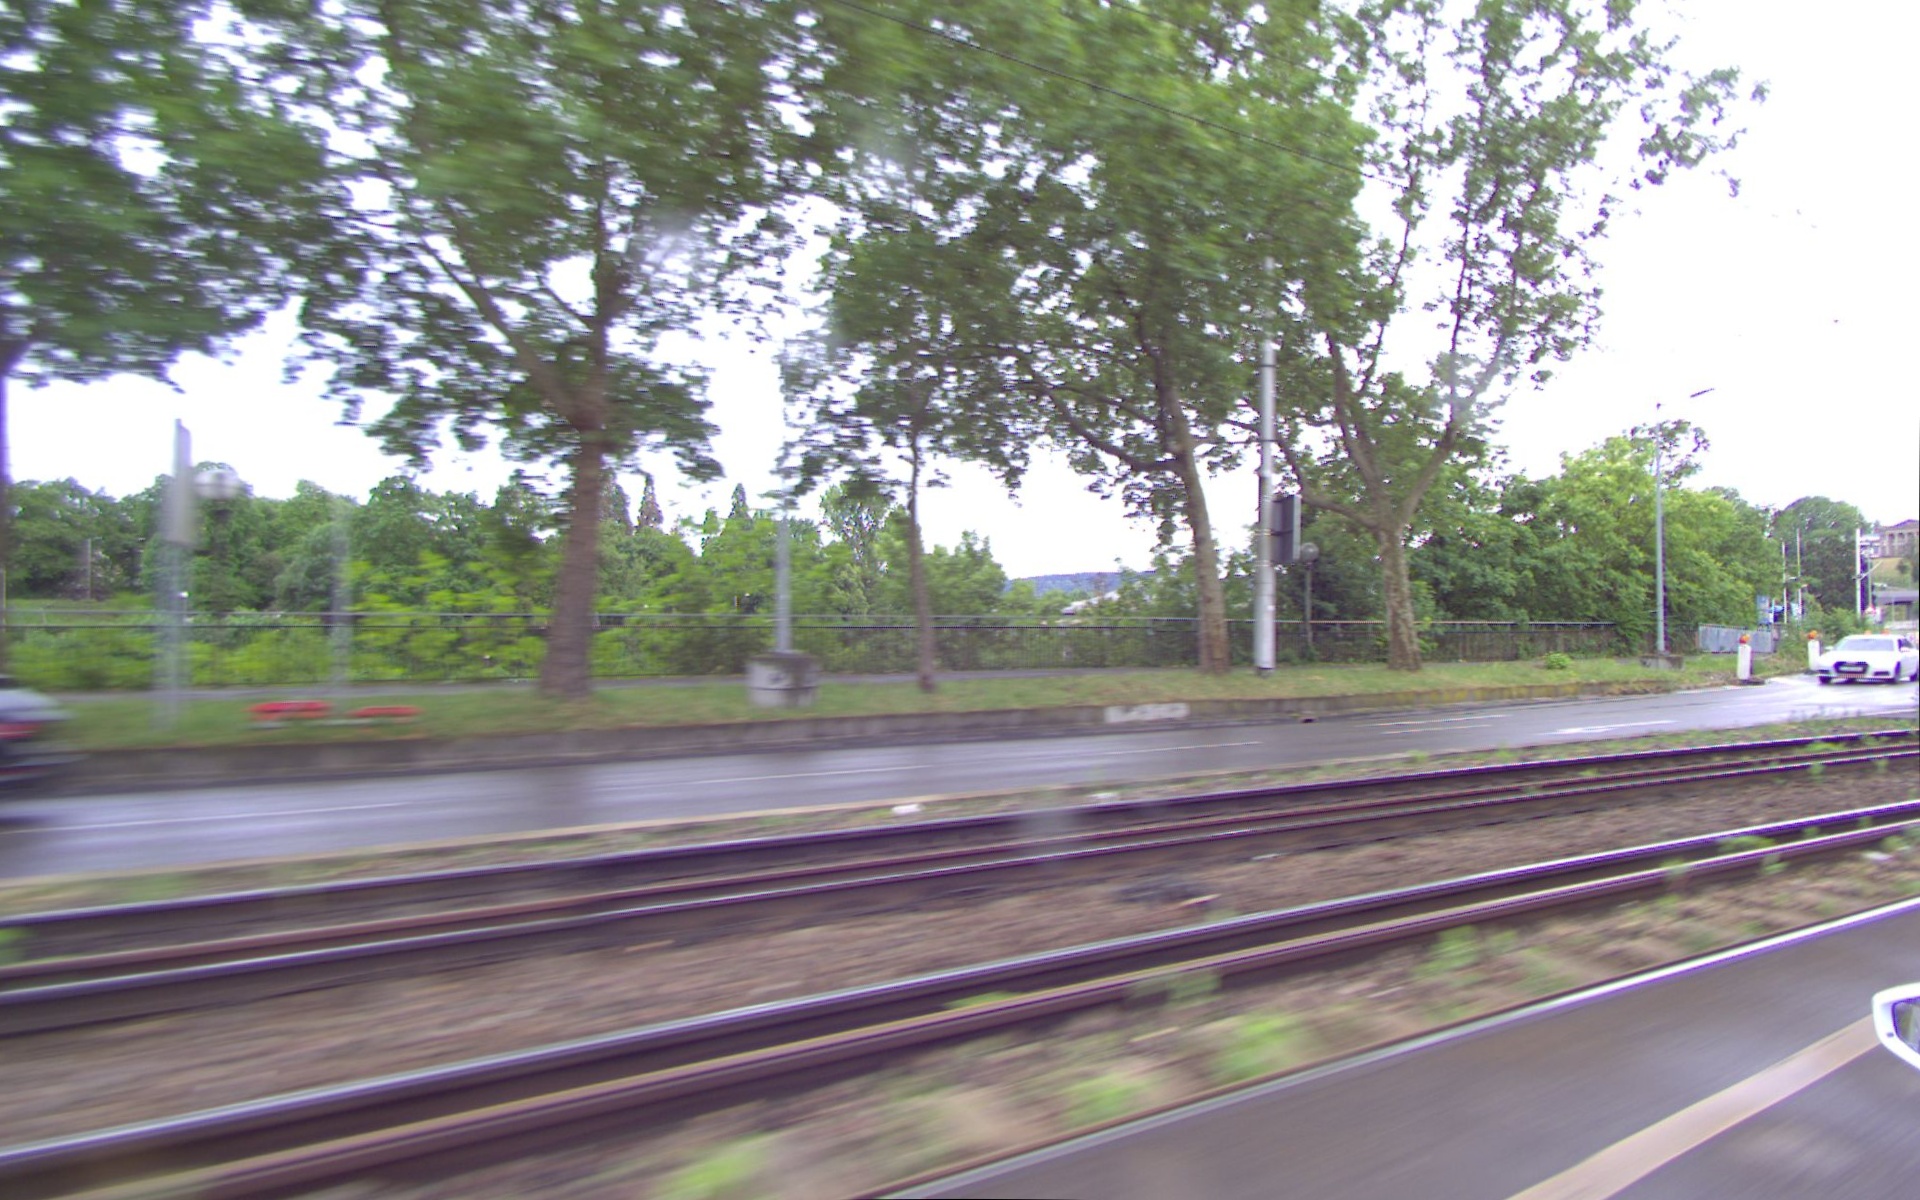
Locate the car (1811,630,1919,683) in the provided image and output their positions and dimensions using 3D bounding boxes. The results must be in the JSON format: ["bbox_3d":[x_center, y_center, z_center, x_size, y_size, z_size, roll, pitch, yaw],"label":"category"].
[{"bbox_3d":[28.118,1.721,31.087,4.676,1.518,1.697,1,-4,-37],"label":"car"}]

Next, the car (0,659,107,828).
[{"bbox_3d":[-10.301,1.247,8.429,4.507,1.448,1.738,1,-3,-31],"label":"car"}]

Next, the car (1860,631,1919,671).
[{"bbox_3d":[38.224,2.046,40.551,4.269,1.518,1.700,1,-3,-33],"label":"car"}]
